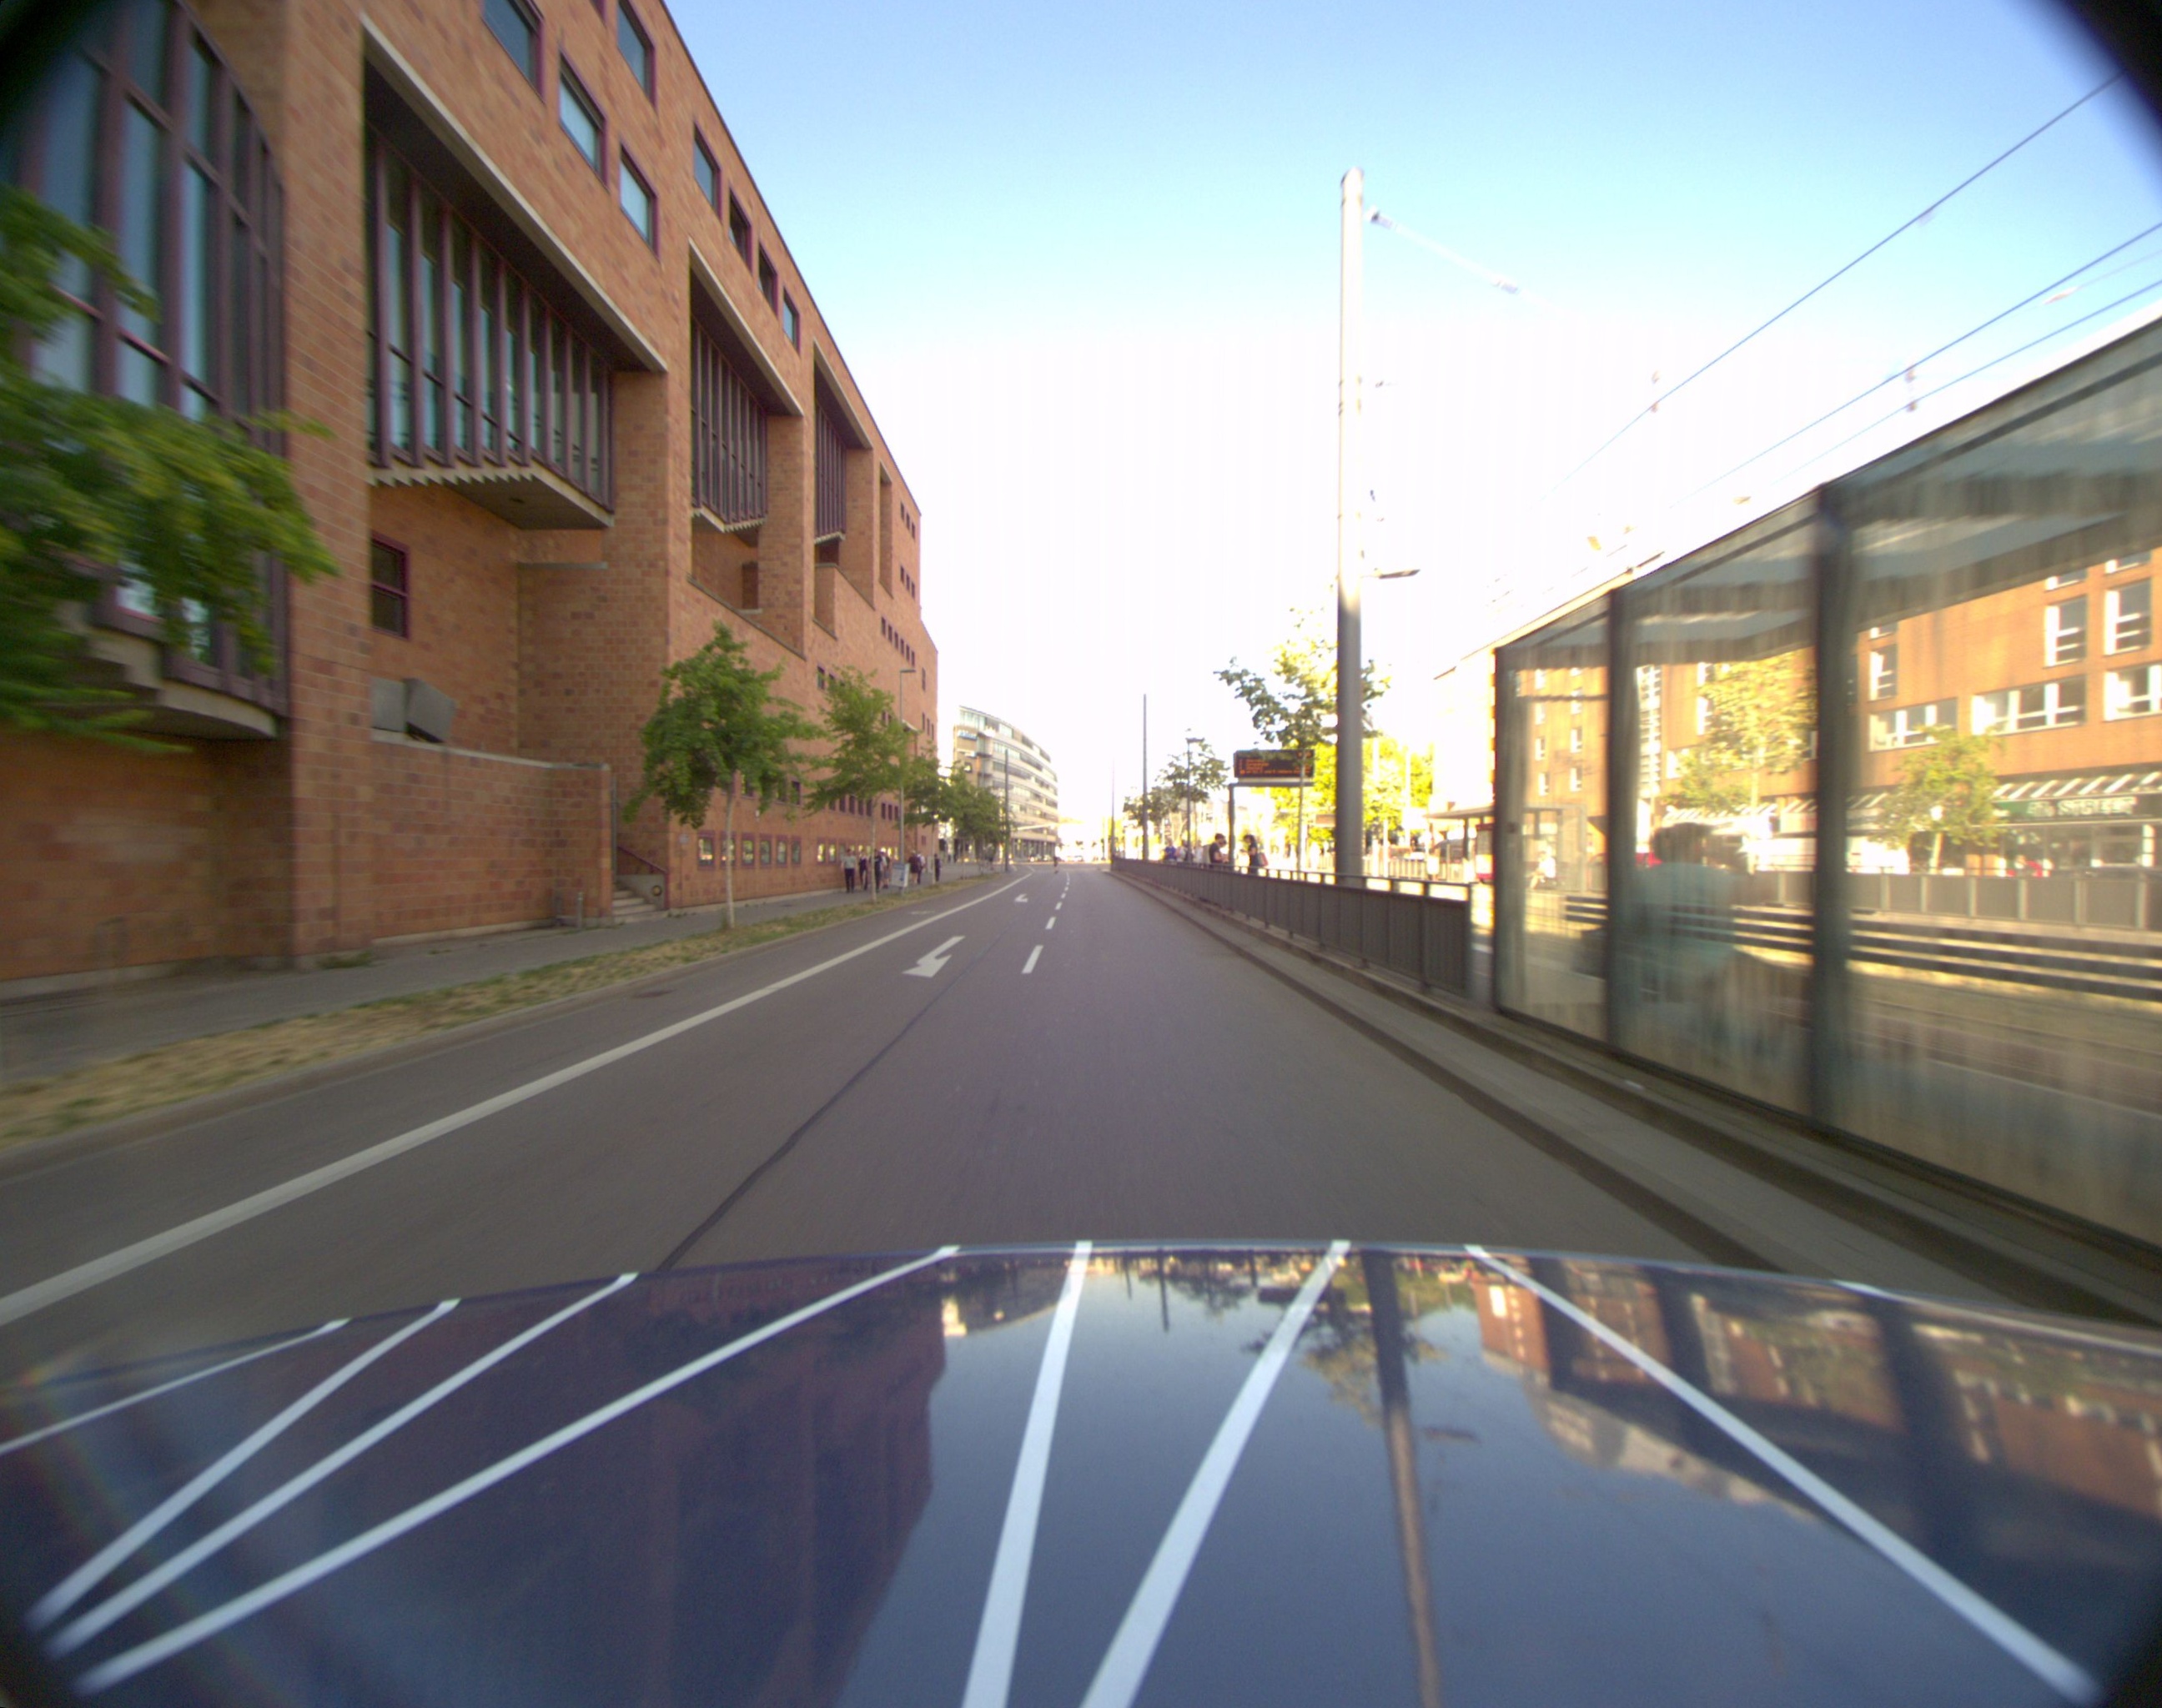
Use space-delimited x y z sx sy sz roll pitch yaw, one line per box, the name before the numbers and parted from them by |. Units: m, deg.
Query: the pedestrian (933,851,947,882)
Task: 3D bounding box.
pedestrian | -7.329 0.641 39.557 0.518 1.596 0.703 -1 1 -31

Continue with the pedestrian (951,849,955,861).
pedestrian | -19.676 0.140 116.765 0.589 1.813 0.543 0 1 -13

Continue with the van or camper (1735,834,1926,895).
van or camper | 28.660 0.442 29.427 1.998 2.156 5.618 0 -1 2

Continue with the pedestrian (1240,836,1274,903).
pedestrian | 4.559 0.392 19.680 0.721 1.722 0.651 0 1 0

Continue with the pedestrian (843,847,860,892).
pedestrian | -8.978 0.599 29.699 0.539 1.746 0.421 0 1 -32

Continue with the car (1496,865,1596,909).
car | 20.915 1.432 34.390 1.891 1.855 4.316 0 0 0

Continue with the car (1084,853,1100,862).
car | 2.114 0.702 143.165 1.901 1.611 4.177 0 -1 15

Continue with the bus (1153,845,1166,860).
bus | 17.574 -0.289 169.911 2.723 3.388 9.674 0 -1 7

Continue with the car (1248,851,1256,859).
car | 47.167 0.239 209.285 1.608 2.002 3.892 0 1 19

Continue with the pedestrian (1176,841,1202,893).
pedestrian | 3.301 0.393 23.258 0.674 1.553 0.906 0 1 0

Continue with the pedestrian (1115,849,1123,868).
pedestrian | 3.100 0.361 62.109 0.490 1.530 0.552 0 1 15

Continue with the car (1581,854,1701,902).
car | 23.525 0.973 32.156 1.891 1.855 4.316 0 0 0

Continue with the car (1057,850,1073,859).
car | -2.789 0.046 135.274 1.901 1.611 3.871 0 -1 15

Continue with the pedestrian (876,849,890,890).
pedestrian | -8.480 0.665 32.487 0.538 1.746 0.694 0 1 -19

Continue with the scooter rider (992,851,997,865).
scooter rider | -8.580 0.391 75.235 0.508 1.452 0.721 0 1 -7

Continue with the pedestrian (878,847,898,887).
pedestrian | -8.608 0.584 33.872 0.734 1.746 0.695 0 1 -2

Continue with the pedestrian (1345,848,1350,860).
pedestrian | 40.684 -0.019 115.991 0.671 1.786 0.570 1 1 27

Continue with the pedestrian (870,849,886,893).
pedestrian | -8.071 0.656 30.169 0.539 1.746 0.464 0 1 -26

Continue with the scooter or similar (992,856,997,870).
scooter or similar | -8.577 0.886 75.237 0.529 1.310 1.131 0 1 -8

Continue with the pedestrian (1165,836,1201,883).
pedestrian | 3.689 0.186 27.458 0.888 1.662 1.098 1 1 35

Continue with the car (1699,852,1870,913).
car | 23.415 0.905 25.557 1.890 1.855 4.317 0 0 3

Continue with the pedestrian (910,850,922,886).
pedestrian | -7.965 0.674 36.720 0.538 1.746 0.421 0 1 -19

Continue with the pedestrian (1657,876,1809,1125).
pedestrian | 3.349 0.717 3.924 0.408 1.183 0.429 -1 1 -12

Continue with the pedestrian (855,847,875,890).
pedestrian | -8.883 0.599 31.246 0.537 1.746 0.696 0 1 11

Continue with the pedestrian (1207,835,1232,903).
pedestrian | 3.553 0.385 19.521 0.506 1.722 0.651 0 1 0

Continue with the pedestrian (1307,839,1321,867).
pedestrian | 13.638 -0.060 44.457 0.677 1.674 0.577 1 1 34

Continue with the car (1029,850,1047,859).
car | -7.761 0.060 136.772 1.901 1.611 4.177 0 -1 15

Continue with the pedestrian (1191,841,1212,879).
pedestrian | 4.777 0.219 30.026 0.683 1.475 0.830 0 1 18

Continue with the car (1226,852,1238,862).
car | 38.453 0.871 193.119 1.995 2.465 5.985 0 0 22

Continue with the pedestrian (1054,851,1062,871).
pedestrian | -1.986 0.584 65.742 0.624 1.692 0.749 0 1 -7

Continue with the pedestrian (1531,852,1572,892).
pedestrian | 14.479 0.543 23.408 0.674 1.183 0.906 0 1 0

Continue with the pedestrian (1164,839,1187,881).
pedestrian | 3.803 0.233 30.691 0.889 1.662 0.672 0 1 9

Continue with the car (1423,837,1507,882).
car | 20.766 0.272 41.397 2.051 2.344 4.919 0 0 0

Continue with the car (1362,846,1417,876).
car | 24.189 0.511 59.840 2.084 2.276 5.263 0 1 -1

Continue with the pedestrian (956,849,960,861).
pedestrian | -18.943 0.145 116.933 0.547 1.813 0.374 0 1 -13

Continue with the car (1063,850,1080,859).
car | -1.717 0.122 139.555 1.901 1.611 4.177 0 -1 15

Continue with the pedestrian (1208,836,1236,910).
pedestrian | 3.237 0.429 17.458 0.506 1.669 0.651 0 1 0

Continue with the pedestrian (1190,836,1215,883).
pedestrian | 4.315 0.190 26.999 0.657 1.662 0.673 1 1 37

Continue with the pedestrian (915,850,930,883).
pedestrian | -8.156 0.636 39.124 0.574 1.703 0.639 -1 1 -37

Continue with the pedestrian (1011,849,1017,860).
pedestrian | -10.935 0.109 124.012 0.966 1.832 0.699 0 1 3

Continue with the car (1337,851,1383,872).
car | 20.949 0.589 57.244 1.891 1.523 4.000 0 -1 -1
